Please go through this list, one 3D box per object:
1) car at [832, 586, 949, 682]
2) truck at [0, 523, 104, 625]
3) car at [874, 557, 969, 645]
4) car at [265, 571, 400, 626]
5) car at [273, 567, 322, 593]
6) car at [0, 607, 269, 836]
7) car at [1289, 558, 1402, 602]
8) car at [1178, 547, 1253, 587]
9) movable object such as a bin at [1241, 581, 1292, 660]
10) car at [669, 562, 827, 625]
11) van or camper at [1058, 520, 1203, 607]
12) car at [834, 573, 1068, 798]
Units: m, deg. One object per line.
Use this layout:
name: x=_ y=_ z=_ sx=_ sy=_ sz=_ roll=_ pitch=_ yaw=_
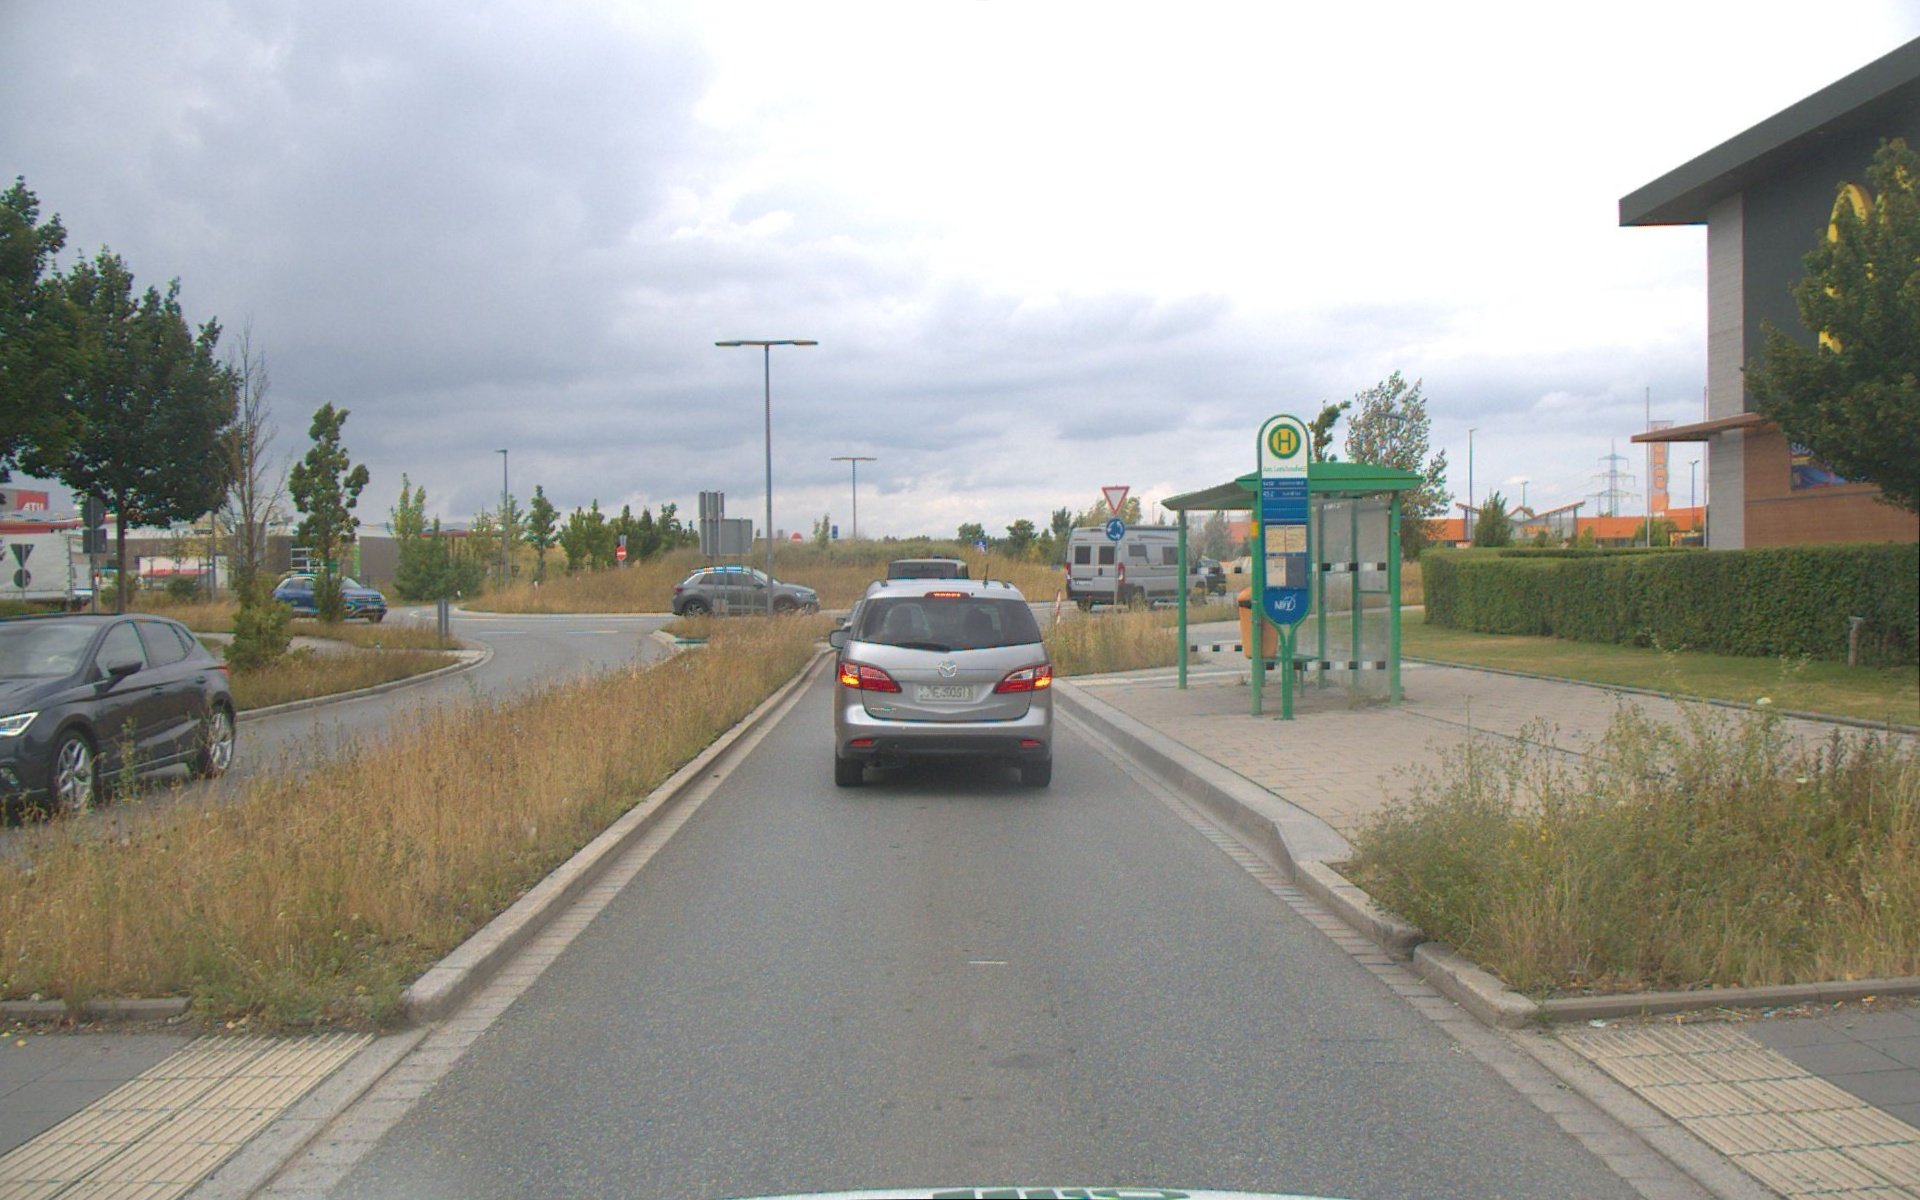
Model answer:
car: x=-1.096 y=0.512 z=27.906 sx=1.807 sy=1.443 sz=4.224 roll=-1 pitch=1 yaw=0
truck: x=-39.445 y=-0.981 z=65.614 sx=9.148 sy=3.975 sz=3.132 roll=-1 pitch=0 yaw=-14
car: x=-0.810 y=0.000 z=37.636 sx=2.016 sy=1.857 sz=4.786 roll=0 pitch=0 yaw=0
car: x=-19.959 y=-0.048 z=52.593 sx=4.137 sy=1.555 sz=1.843 roll=-2 pitch=0 yaw=31
car: x=-47.707 y=-1.448 z=119.166 sx=1.953 sy=1.892 sz=3.999 roll=0 pitch=1 yaw=-1
car: x=-7.044 y=0.840 z=12.733 sx=1.804 sy=1.431 sz=3.999 roll=-3 pitch=1 yaw=-2
car: x=16.256 y=-0.850 z=69.991 sx=4.504 sy=1.788 sz=2.002 roll=0 pitch=0 yaw=8
car: x=10.157 y=-1.306 z=66.115 sx=1.955 sy=1.542 sz=3.994 roll=-1 pitch=0 yaw=-7
movable object such as a bin: x=3.190 y=0.205 z=17.251 sx=0.447 sy=0.812 sz=0.380 roll=0 pitch=0 yaw=-3
car: x=-5.985 y=-0.205 z=47.088 sx=4.103 sy=1.620 sz=2.066 roll=-2 pitch=1 yaw=2
van or camper: x=5.319 y=-1.105 z=50.984 sx=2.263 sy=2.549 sz=5.188 roll=0 pitch=1 yaw=35
car: x=-0.161 y=0.598 z=13.922 sx=1.695 sy=1.628 sz=3.805 roll=0 pitch=1 yaw=-3
